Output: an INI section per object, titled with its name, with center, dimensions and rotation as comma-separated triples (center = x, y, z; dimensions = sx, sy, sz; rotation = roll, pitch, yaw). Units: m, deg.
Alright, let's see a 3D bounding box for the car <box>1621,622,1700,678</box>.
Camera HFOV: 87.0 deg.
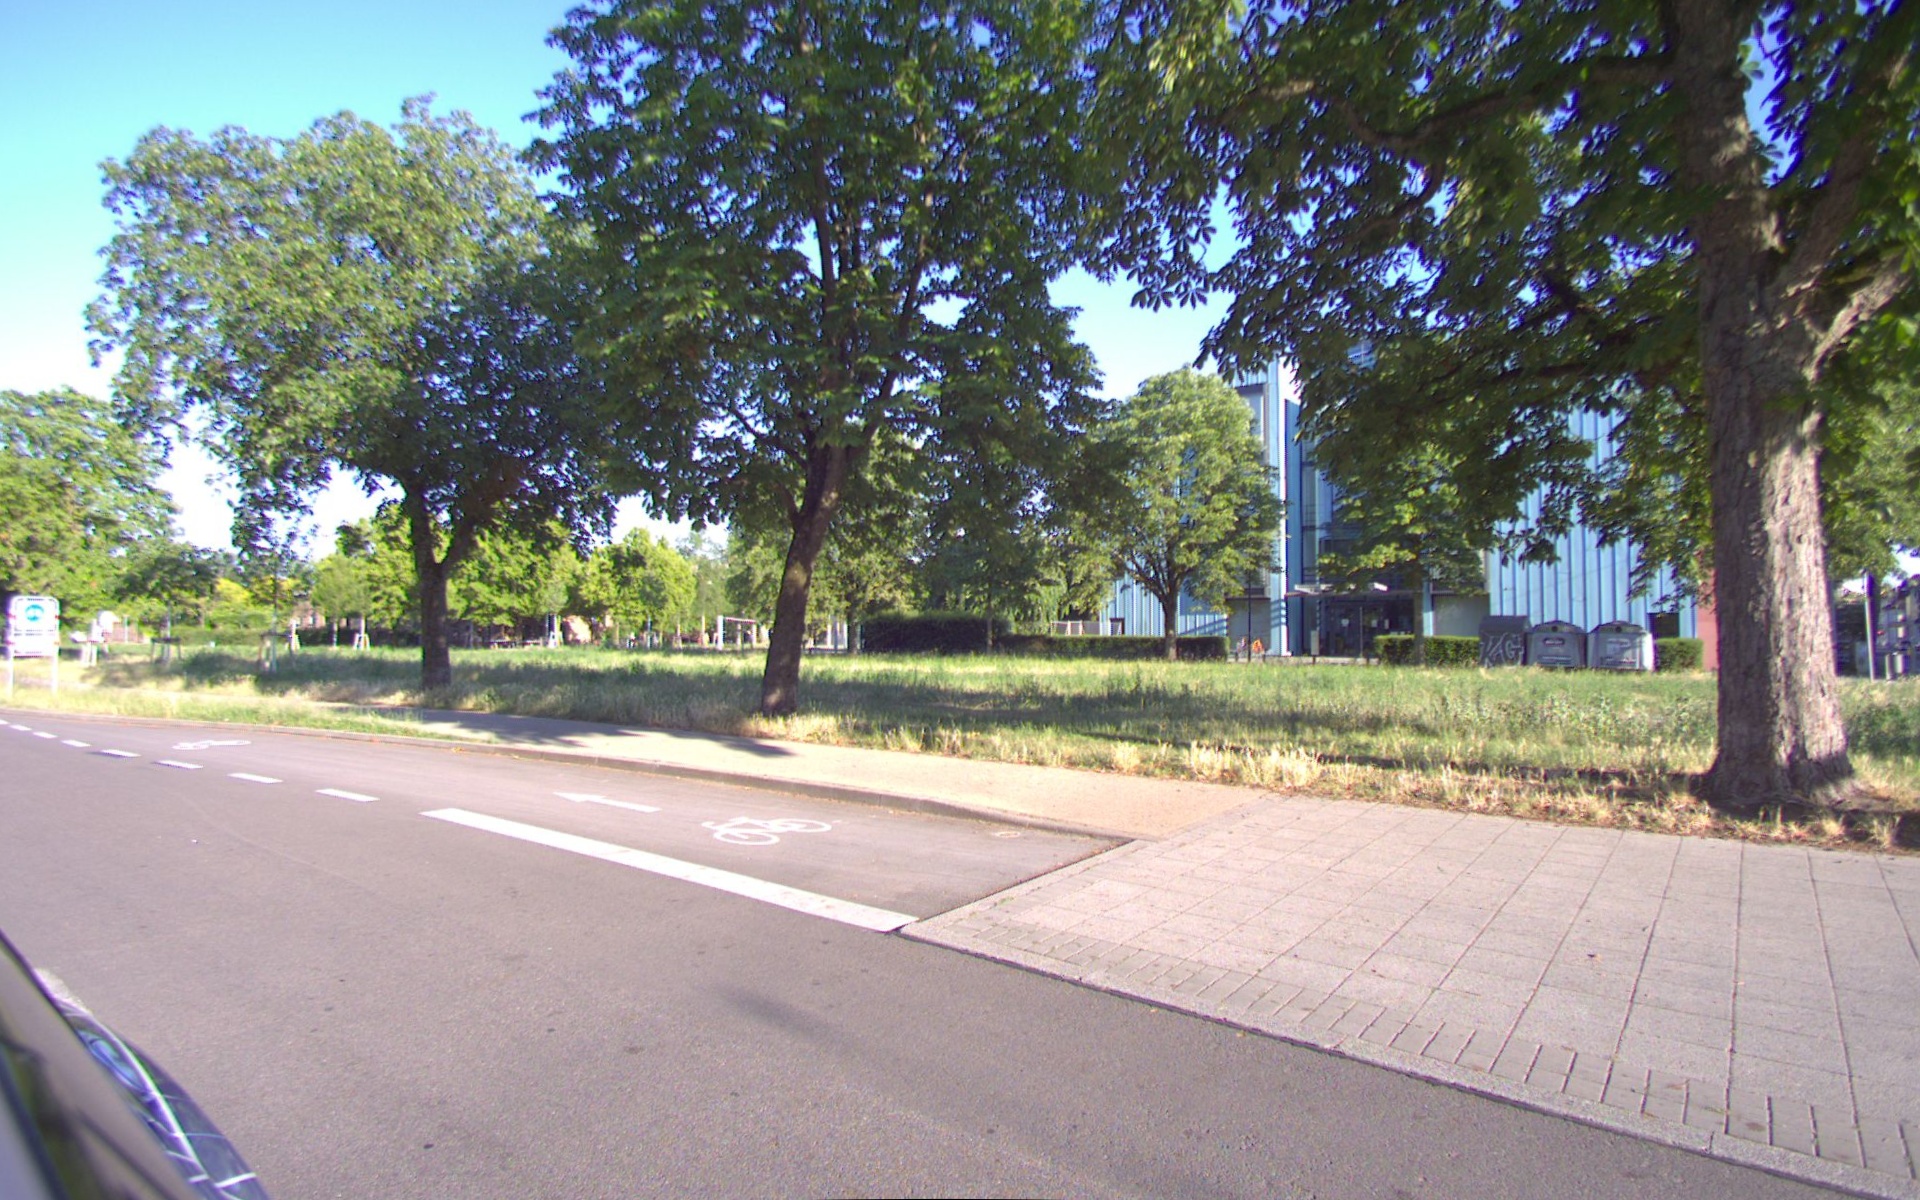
[car]
center = 23.466, 1.699, 33.807
dimensions = 1.996, 1.684, 5.158
rotation = -1, -4, 37
